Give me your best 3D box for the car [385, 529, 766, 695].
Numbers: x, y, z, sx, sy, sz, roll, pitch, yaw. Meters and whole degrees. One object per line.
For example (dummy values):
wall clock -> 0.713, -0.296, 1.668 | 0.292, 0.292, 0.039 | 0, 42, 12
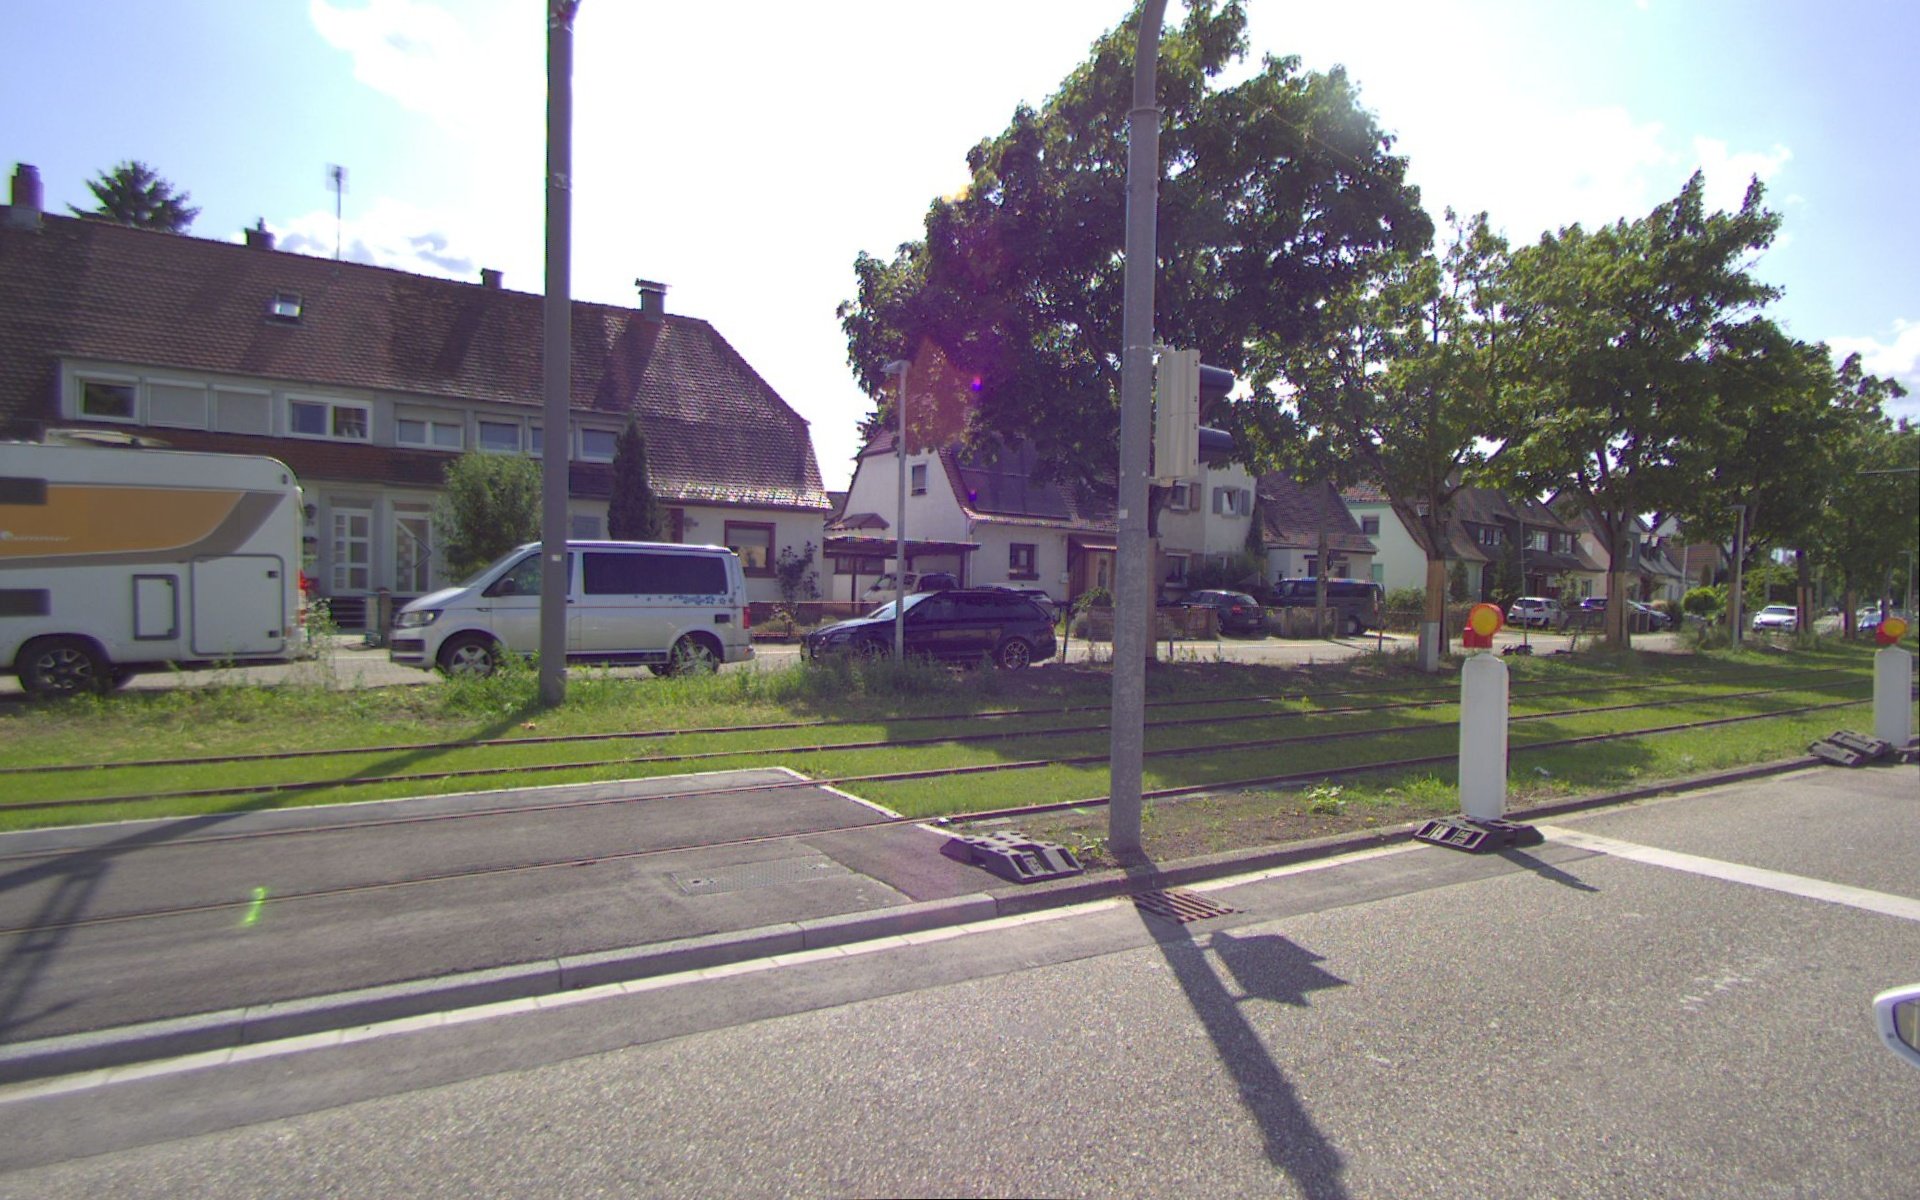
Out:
car -> -5.456, 0.159, 14.459 | 4.849, 2.041, 1.983 | 1, 1, -32

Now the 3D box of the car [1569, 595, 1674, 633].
car -> 36.247, 0.724, 55.130 | 2.050, 1.861, 4.429 | 1, 1, -42

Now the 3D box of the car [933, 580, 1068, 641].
car -> 1.113, 0.258, 29.429 | 1.856, 1.551, 3.958 | 1, 2, -36

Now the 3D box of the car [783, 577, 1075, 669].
car -> -0.497, 0.382, 17.439 | 4.747, 1.406, 1.845 | 1, 1, -28

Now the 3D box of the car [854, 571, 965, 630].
car -> -1.730, -0.030, 33.256 | 1.782, 1.761, 3.958 | 1, 2, -36

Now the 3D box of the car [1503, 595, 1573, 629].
car -> 27.932, 0.589, 48.502 | 4.013, 1.538, 1.713 | 1, 1, -42

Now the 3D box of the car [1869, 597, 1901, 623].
car -> 102.146, 1.071, 110.983 | 2.048, 2.757, 6.973 | 0, 0, 38

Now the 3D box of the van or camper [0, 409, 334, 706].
van or camper -> -11.012, -0.466, 10.777 | 7.215, 3.010, 2.362 | 1, 1, -32

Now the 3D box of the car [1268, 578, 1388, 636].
car -> 13.934, 0.238, 38.043 | 3.831, 1.922, 1.937 | 4, 2, 34

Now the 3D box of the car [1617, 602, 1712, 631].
car -> 42.989, 0.997, 61.395 | 1.911, 1.544, 4.429 | 1, 1, -42

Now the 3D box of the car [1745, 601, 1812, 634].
car -> 47.534, 1.007, 58.317 | 5.036, 1.792, 1.867 | 1, 1, -37

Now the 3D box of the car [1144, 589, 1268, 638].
car -> 8.305, 0.432, 34.173 | 1.719, 1.476, 3.856 | 1, 1, -36

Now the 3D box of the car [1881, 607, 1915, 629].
car -> 69.147, 1.301, 74.086 | 1.792, 1.608, 4.541 | 0, 0, 43
